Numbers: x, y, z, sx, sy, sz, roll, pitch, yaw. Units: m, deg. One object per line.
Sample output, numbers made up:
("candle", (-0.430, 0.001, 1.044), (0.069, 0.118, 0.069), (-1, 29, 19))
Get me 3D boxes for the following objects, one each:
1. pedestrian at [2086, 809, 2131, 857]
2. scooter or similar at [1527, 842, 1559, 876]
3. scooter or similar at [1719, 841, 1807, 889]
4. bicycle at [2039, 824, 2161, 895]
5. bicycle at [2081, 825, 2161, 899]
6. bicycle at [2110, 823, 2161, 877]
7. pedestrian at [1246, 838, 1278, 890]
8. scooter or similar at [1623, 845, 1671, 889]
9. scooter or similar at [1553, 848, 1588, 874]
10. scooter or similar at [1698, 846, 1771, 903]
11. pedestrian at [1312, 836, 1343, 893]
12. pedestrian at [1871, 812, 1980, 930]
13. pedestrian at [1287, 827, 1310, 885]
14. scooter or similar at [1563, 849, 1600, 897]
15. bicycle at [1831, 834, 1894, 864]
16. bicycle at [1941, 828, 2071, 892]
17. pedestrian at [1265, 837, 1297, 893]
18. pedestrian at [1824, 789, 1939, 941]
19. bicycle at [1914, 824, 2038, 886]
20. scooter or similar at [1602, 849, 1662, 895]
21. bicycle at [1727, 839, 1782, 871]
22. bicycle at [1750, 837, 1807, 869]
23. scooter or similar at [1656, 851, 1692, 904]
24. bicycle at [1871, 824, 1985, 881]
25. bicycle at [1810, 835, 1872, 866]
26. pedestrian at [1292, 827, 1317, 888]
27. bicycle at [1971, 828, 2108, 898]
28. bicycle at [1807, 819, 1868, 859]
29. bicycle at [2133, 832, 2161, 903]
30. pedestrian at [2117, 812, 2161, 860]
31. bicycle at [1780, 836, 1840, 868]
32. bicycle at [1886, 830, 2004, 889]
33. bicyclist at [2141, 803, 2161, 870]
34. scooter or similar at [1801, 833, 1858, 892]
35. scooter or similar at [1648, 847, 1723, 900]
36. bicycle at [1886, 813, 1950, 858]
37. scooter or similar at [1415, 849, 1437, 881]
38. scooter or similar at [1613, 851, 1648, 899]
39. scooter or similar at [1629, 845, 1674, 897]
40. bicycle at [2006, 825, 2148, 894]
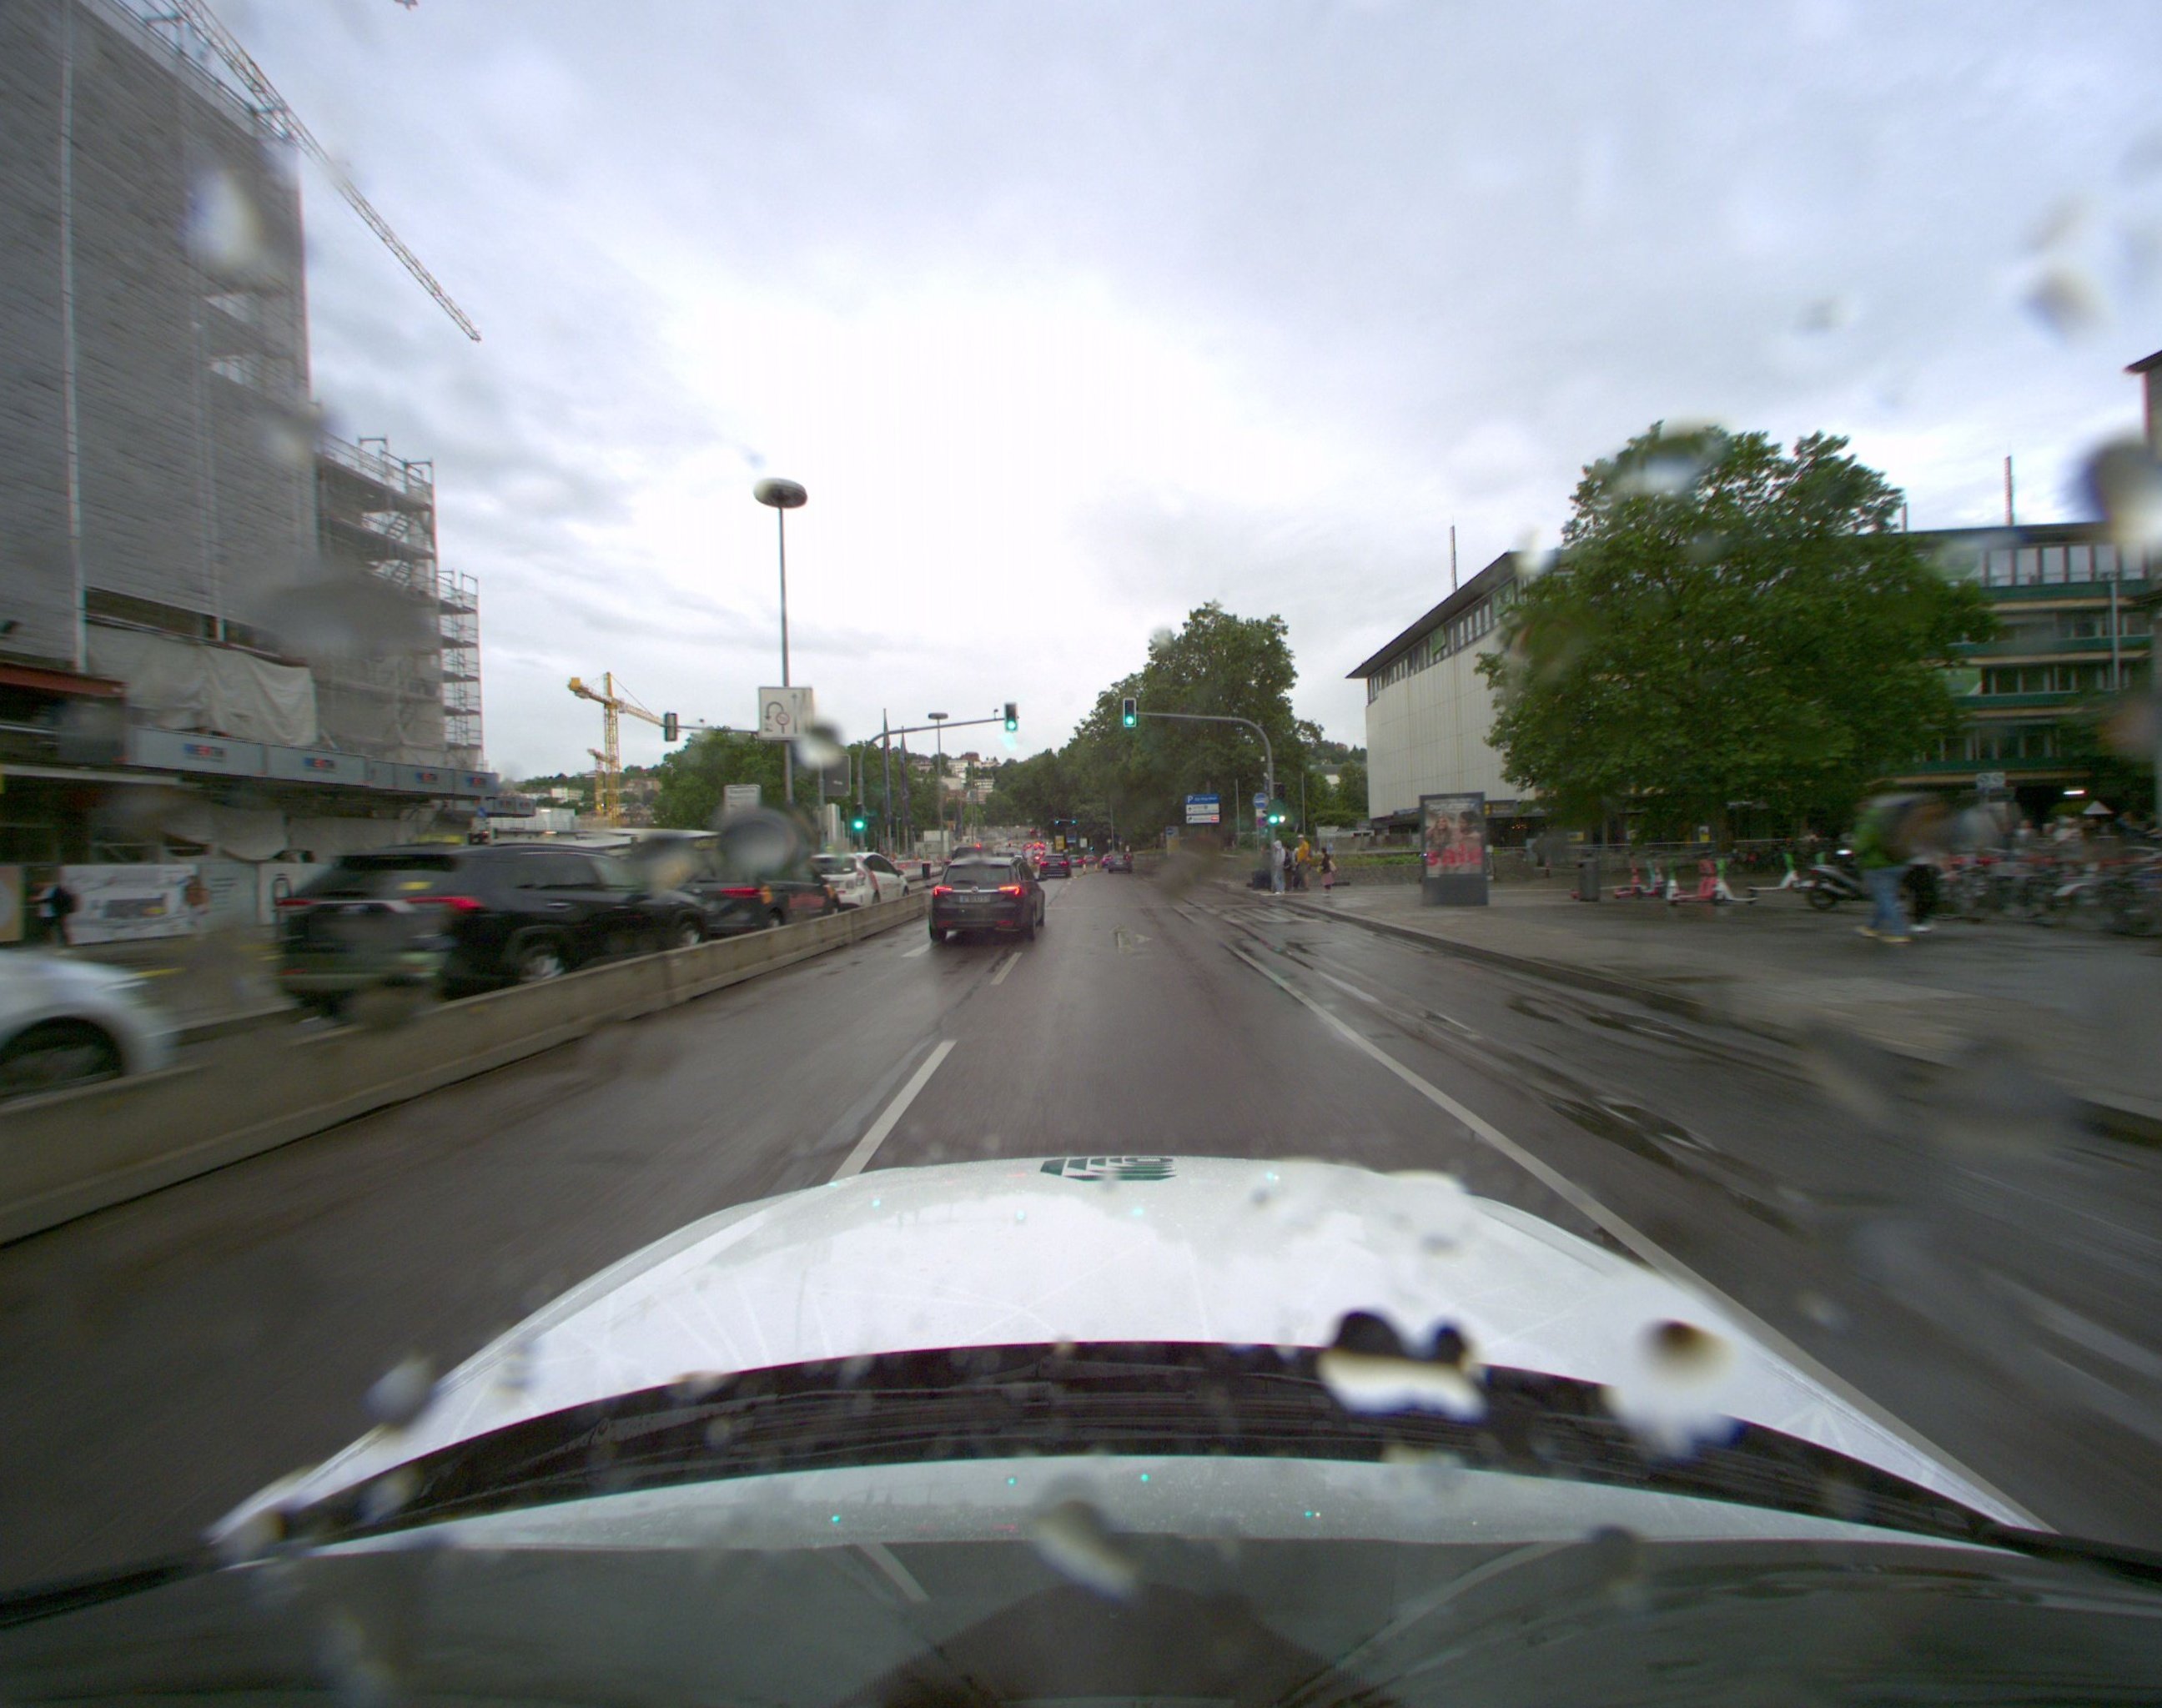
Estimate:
("pedestrian", (43.993, -0.906, 34.876), (0.985, 2.014, 0.847), (-1, -1, -15))
("scooter or similar", (18.785, 0.194, 33.133), (0.409, 1.332, 1.311), (0, 0, -10))
("scooter or similar", (18.568, 0.289, 22.212), (0.622, 1.260, 1.737), (0, 0, -25))
("bicycle", (19.920, 0.097, 15.711), (1.981, 1.237, 0.618), (-4, 0, 3))
("bicycle", (19.814, 0.123, 14.957), (1.981, 1.266, 0.618), (-4, 0, 3))
("bicycle", (25.482, -0.097, 18.938), (0.656, 1.255, 2.016), (-2, 0, 6))
("pedestrian", (6.686, 0.367, 30.140), (0.787, 1.838, 0.946), (-2, 0, -12))
("scooter or similar", (15.894, 0.367, 22.890), (1.084, 1.217, 0.479), (-1, -1, 33))
("scooter or similar", (20.060, 0.284, 33.394), (0.476, 1.035, 1.311), (-3, 0, -10))
("scooter or similar", (14.833, 0.454, 18.489), (1.304, 1.256, 0.590), (-1, -1, -12))
("pedestrian", (7.916, 0.326, 26.183), (0.542, 1.804, 0.751), (-2, 0, -26))
("pedestrian", (12.332, 0.245, 11.921), (0.779, 1.641, 0.792), (-2, 0, 17))
("pedestrian", (8.128, 0.066, 30.452), (0.703, 2.145, 0.724), (-2, 0, 13))
("scooter or similar", (13.274, 0.489, 21.623), (0.323, 1.237, 1.100), (-1, 0, 3))
("bicycle", (28.571, -0.188, 29.801), (0.612, 1.025, 2.001), (-3, 0, 10))
("bicycle", (20.081, 0.127, 17.710), (1.981, 1.237, 0.618), (-4, 0, 3))
("pedestrian", (6.686, 0.368, 27.268), (0.746, 1.804, 0.706), (-2, 0, -13))
("pedestrian", (10.661, 0.143, 10.871), (0.705, 1.932, 0.787), (-2, 0, -7))
("bicycle", (20.115, 0.025, 18.329), (1.981, 1.237, 0.618), (-4, 0, 3))
("scooter or similar", (15.232, 0.490, 22.556), (1.348, 1.250, 0.441), (-1, -1, 33))
("bicycle", (24.917, 0.034, 30.182), (0.612, 1.119, 2.001), (-3, 0, 10))
("bicycle", (25.842, -0.047, 30.212), (0.612, 1.102, 2.030), (-3, 0, 10))
("scooter or similar", (13.337, 0.513, 18.340), (0.433, 1.129, 1.374), (1, 1, 28))
("bicycle", (20.393, -0.032, 19.634), (1.981, 1.237, 0.618), (-4, 0, 3))
("bicycle", (27.830, -0.143, 29.855), (0.612, 1.055, 2.001), (-3, 0, 10))
("pedestrian", (8.080, 0.119, 29.431), (0.554, 2.146, 0.665), (-2, 0, -12))
("bicycle", (20.068, 0.187, 17.073), (1.981, 1.335, 0.618), (-4, 0, 3))
("bicycle", (30.906, -0.613, 33.311), (0.788, 1.562, 2.137), (-2, 0, 10))
("bicycle", (19.773, 0.196, 14.324), (1.609, 1.225, 0.618), (-4, 0, 3))
("pedestrian", (41.964, -0.713, 32.243), (0.815, 1.863, 0.836), (-1, -1, 3))
("bicycle", (26.718, -0.079, 29.881), (0.612, 1.102, 2.030), (-3, 0, 10))
("bicycle", (20.164, 0.128, 19.033), (1.981, 1.237, 0.618), (-4, 0, 3))
("bicyclist", (25.451, -0.416, 18.838), (0.646, 1.554, 0.909), (-2, 0, 6))
("scooter or similar", (18.854, 0.207, 20.537), (0.615, 1.428, 1.720), (-1, 0, 28))
("scooter or similar", (14.467, 0.458, 19.507), (0.572, 1.231, 1.353), (0, -1, -43))
("bicycle", (31.748, -0.696, 30.921), (0.612, 1.634, 2.001), (-2, 0, 10))
("scooter or similar", (13.337, 0.406, 31.500), (0.350, 1.217, 1.158), (0, 0, 1))
("scooter or similar", (14.245, 0.539, 21.135), (0.304, 1.207, 0.958), (-1, 0, 3))
("scooter or similar", (14.733, 0.429, 21.050), (0.367, 1.281, 1.174), (-1, 0, 3))
("bicycle", (20.033, 0.111, 16.408), (1.981, 1.237, 0.618), (-4, 0, 2))
